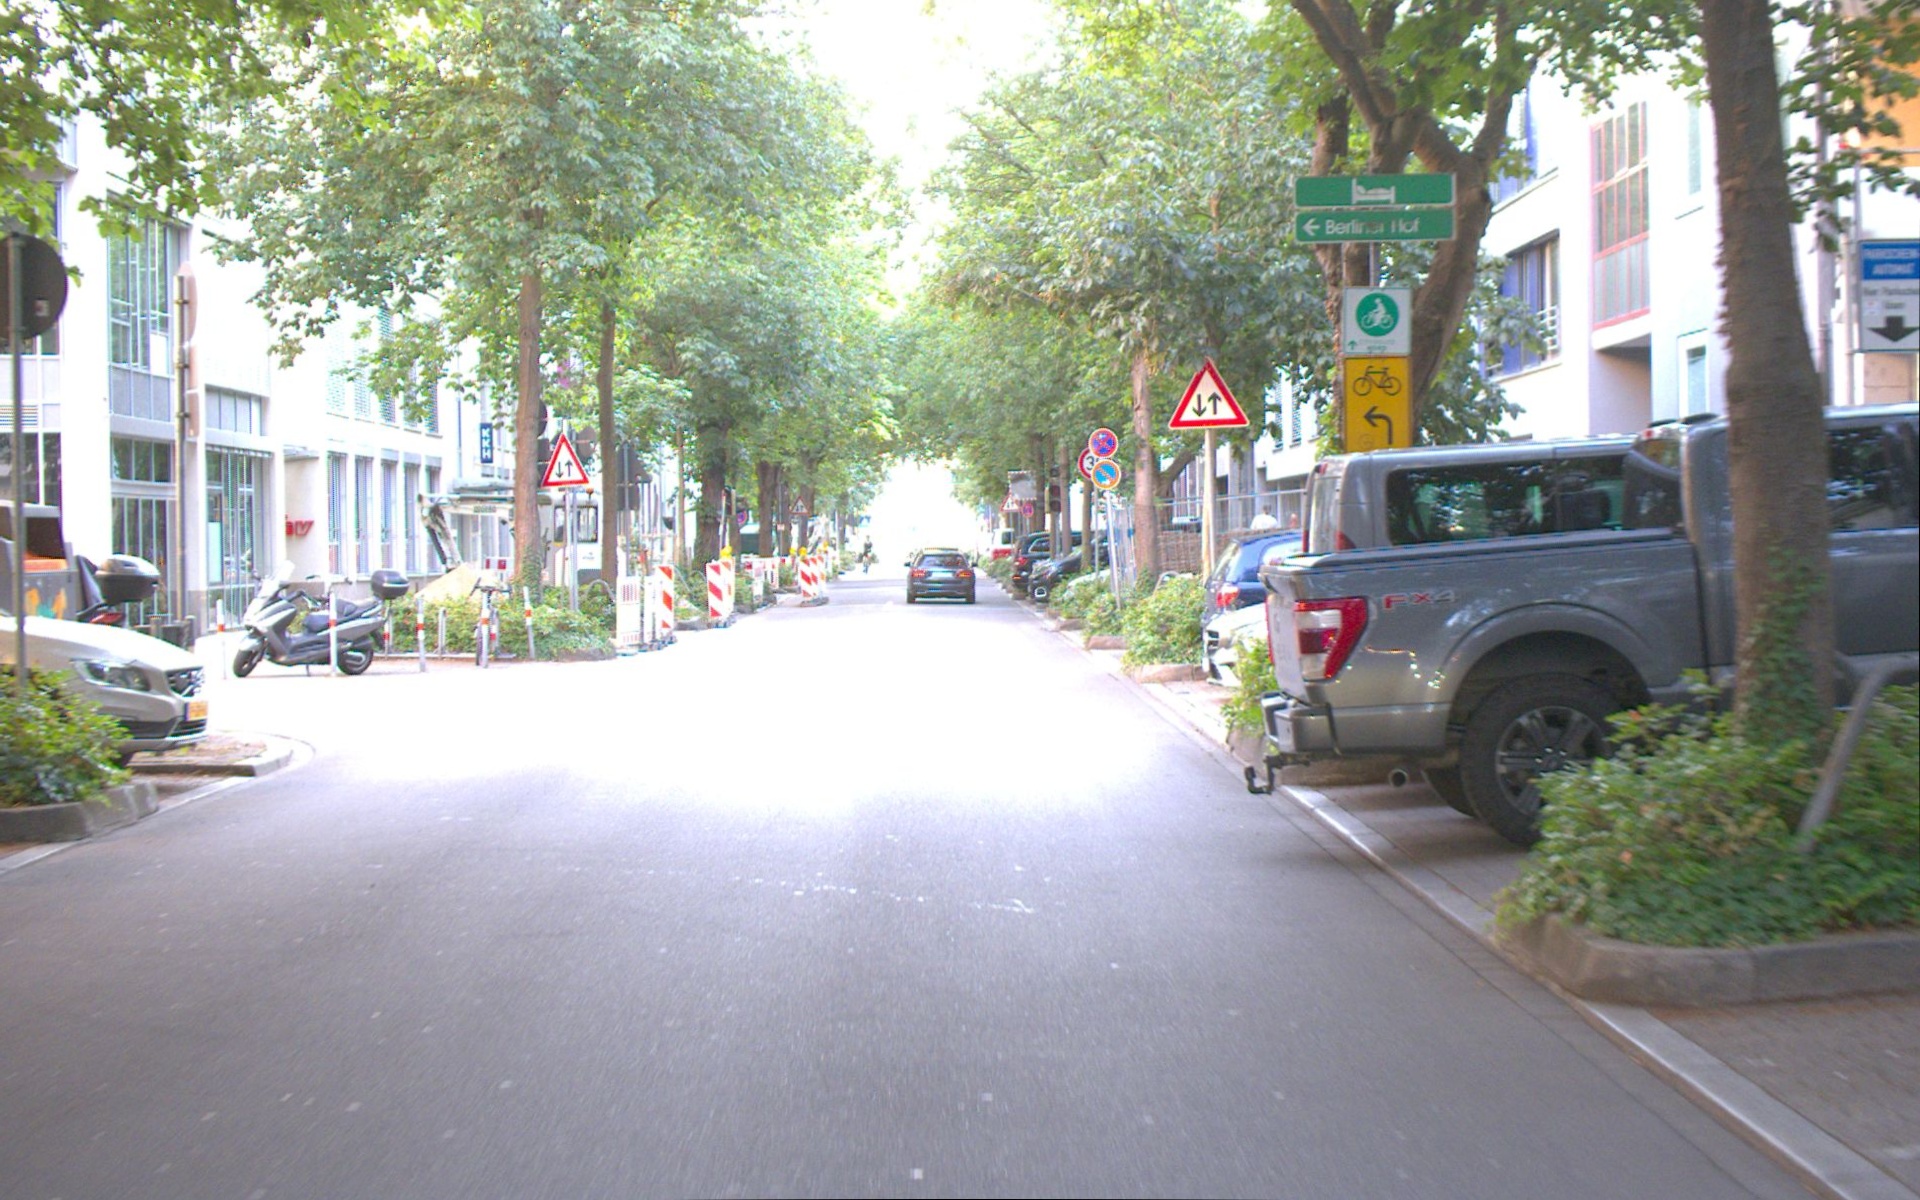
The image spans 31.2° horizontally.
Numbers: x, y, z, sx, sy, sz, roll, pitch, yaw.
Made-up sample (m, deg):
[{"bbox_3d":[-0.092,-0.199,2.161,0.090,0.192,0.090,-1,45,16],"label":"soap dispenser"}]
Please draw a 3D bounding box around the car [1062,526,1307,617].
[{"bbox_3d":[4.123,-0.538,63.571,4.437,1.586,1.629,-1,1,2],"label":"car"}]

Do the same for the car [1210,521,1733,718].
[{"bbox_3d":[4.234,0.141,28.885,4.067,1.558,1.854,-1,1,-2],"label":"car"}]

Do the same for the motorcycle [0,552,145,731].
[{"bbox_3d":[-7.562,0.319,27.297,2.221,1.369,0.722,0,1,30],"label":"motorcycle"}]

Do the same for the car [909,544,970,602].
[{"bbox_3d":[-0.517,-0.706,87.846,1.500,1.411,3.714,-1,1,0],"label":"car"}]

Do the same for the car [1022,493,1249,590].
[{"bbox_3d":[3.917,-1.313,77.140,4.971,2.080,1.738,-1,1,0],"label":"car"}]

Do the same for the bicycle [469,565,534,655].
[{"bbox_3d":[-5.987,0.118,44.947,0.601,1.114,1.800,-1,2,0],"label":"bicycle"}]

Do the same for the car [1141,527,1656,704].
[{"bbox_3d":[3.952,0.112,31.297,4.278,1.503,1.873,-1,1,-10],"label":"car"}]

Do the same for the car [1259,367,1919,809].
[{"bbox_3d":[4.173,-0.131,19.525,4.620,2.125,2.037,-4,1,0],"label":"car"}]

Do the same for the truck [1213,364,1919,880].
[{"bbox_3d":[4.405,-0.040,16.894,6.004,2.125,2.261,-5,1,0],"label":"truck"}]

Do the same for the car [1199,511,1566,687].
[{"bbox_3d":[4.121,-0.026,33.896,3.350,1.520,1.746,-3,1,1],"label":"car"}]

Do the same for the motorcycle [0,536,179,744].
[{"bbox_3d":[-6.917,0.291,25.151,2.217,1.488,0.691,-1,1,2],"label":"motorcycle"}]

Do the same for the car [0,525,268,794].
[{"bbox_3d":[-6.811,0.308,21.530,4.498,1.576,2.055,1,1,1],"label":"car"}]

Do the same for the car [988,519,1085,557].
[{"bbox_3d":[3.275,-2.667,147.700,3.986,1.592,2.000,-1,1,-3],"label":"car"}]

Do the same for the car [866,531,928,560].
[{"bbox_3d":[-4.293,-3.682,233.650,3.986,1.908,1.778,-1,1,-8],"label":"car"}]

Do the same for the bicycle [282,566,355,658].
[{"bbox_3d":[-8.317,0.144,44.626,0.601,1.114,1.800,-1,2,0],"label":"bicycle"}]

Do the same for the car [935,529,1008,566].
[{"bbox_3d":[0.653,-2.934,191.762,3.987,2.007,2.000,-1,1,2],"label":"car"}]

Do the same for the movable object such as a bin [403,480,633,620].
[{"bbox_3d":[-7.588,-0.868,59.390,3.665,2.325,2.584,-1,1,-2],"label":"movable object such as a bin"}]

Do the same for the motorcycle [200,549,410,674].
[{"bbox_3d":[-7.854,0.121,41.274,2.373,1.436,0.801,-2,1,-40],"label":"motorcycle"}]
